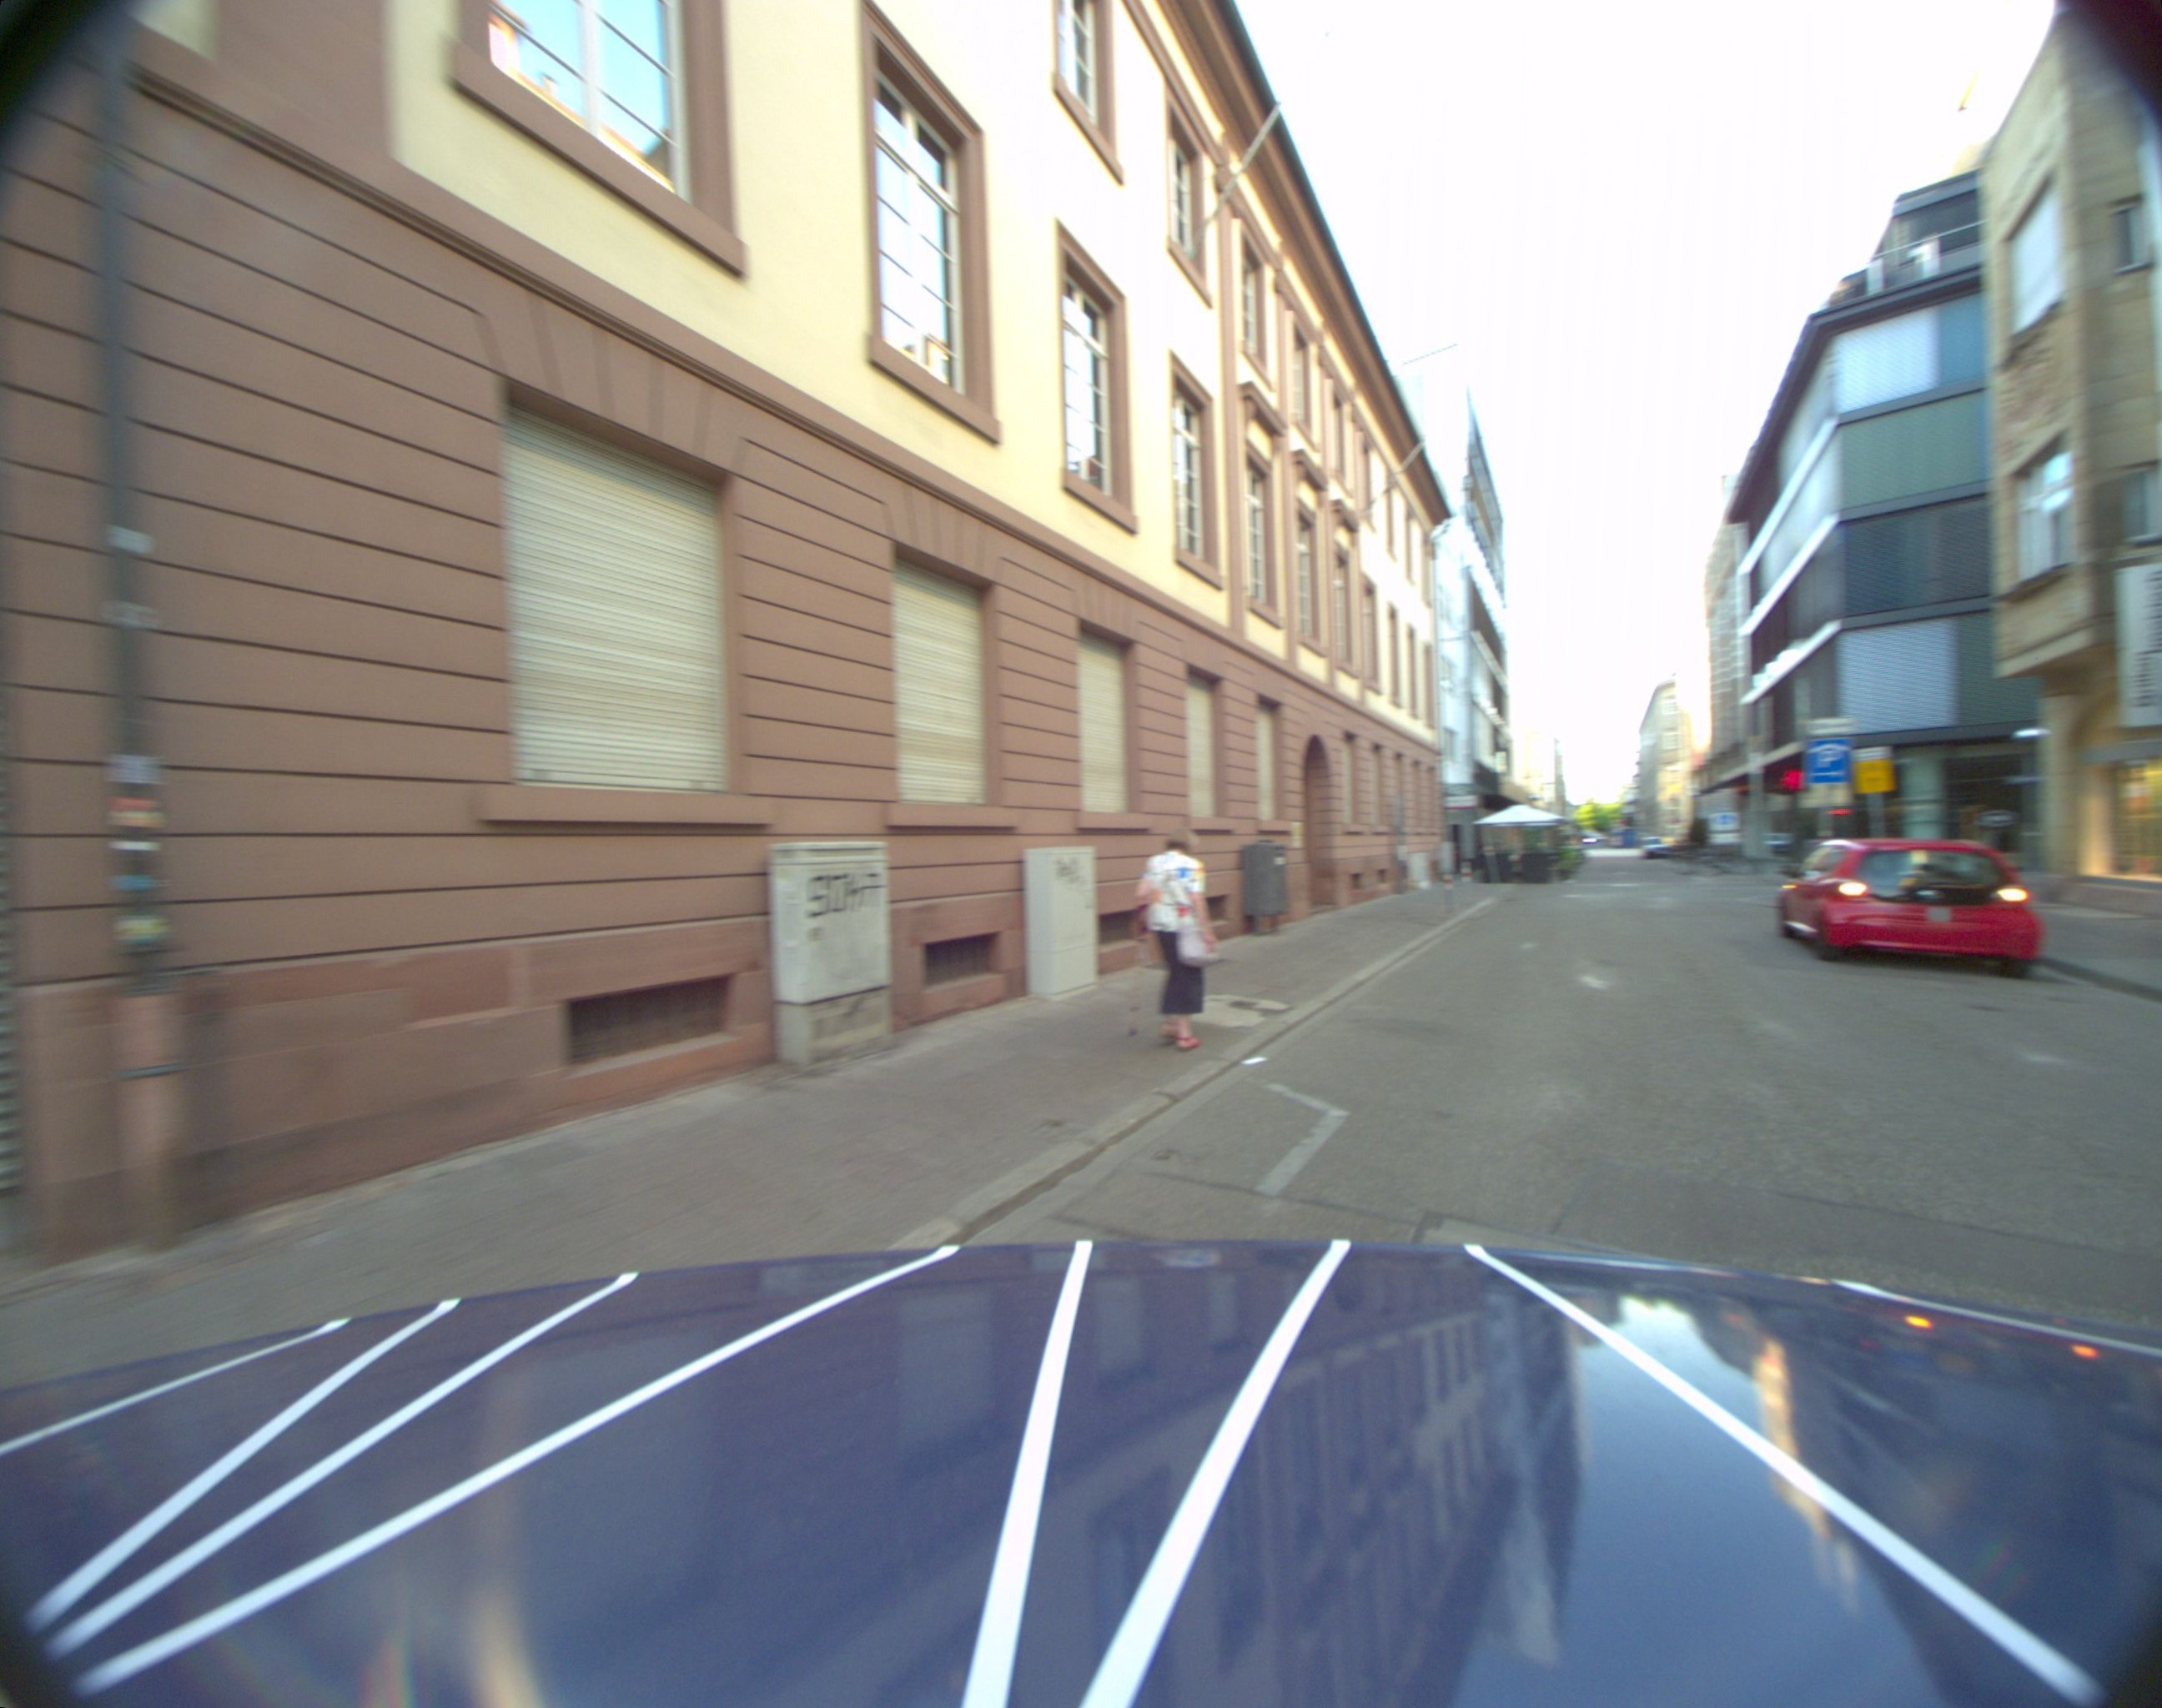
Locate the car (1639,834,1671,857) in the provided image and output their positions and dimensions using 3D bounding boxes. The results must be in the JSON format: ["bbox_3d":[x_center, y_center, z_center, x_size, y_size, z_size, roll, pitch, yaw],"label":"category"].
[{"bbox_3d":[37.626,-0.552,49.851,1.423,1.409,3.902,-2,0,34],"label":"car"}]

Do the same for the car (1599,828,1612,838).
[{"bbox_3d":[75.100,-3.033,108.863,1.423,1.292,3.570,-2,0,34],"label":"car"}]

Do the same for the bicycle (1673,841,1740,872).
[{"bbox_3d":[24.223,0.107,29.450,1.949,1.123,0.527,-2,0,35],"label":"bicycle"}]

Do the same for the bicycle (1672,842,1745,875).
[{"bbox_3d":[22.527,0.169,27.314,1.949,1.123,0.621,-2,0,35],"label":"bicycle"}]

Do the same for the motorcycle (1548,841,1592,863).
[{"bbox_3d":[28.928,-0.132,44.969,2.188,1.275,0.652,0,2,36],"label":"motorcycle"}]

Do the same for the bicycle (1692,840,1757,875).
[{"bbox_3d":[21.923,0.122,25.910,1.604,1.112,0.621,-2,0,35],"label":"bicycle"}]

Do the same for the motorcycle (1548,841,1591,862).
[{"bbox_3d":[29.429,-0.154,45.796,2.188,1.275,0.652,0,2,36],"label":"motorcycle"}]

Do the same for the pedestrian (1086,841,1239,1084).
[{"bbox_3d":[0.646,0.741,5.806,0.810,1.661,0.932,0,2,32],"label":"pedestrian"}]

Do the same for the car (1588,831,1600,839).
[{"bbox_3d":[79.036,-2.936,117.091,1.423,1.090,3.570,-2,0,34],"label":"car"}]

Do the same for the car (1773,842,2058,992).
[{"bbox_3d":[9.942,0.610,9.362,1.633,1.433,3.163,2,3,34],"label":"car"}]
